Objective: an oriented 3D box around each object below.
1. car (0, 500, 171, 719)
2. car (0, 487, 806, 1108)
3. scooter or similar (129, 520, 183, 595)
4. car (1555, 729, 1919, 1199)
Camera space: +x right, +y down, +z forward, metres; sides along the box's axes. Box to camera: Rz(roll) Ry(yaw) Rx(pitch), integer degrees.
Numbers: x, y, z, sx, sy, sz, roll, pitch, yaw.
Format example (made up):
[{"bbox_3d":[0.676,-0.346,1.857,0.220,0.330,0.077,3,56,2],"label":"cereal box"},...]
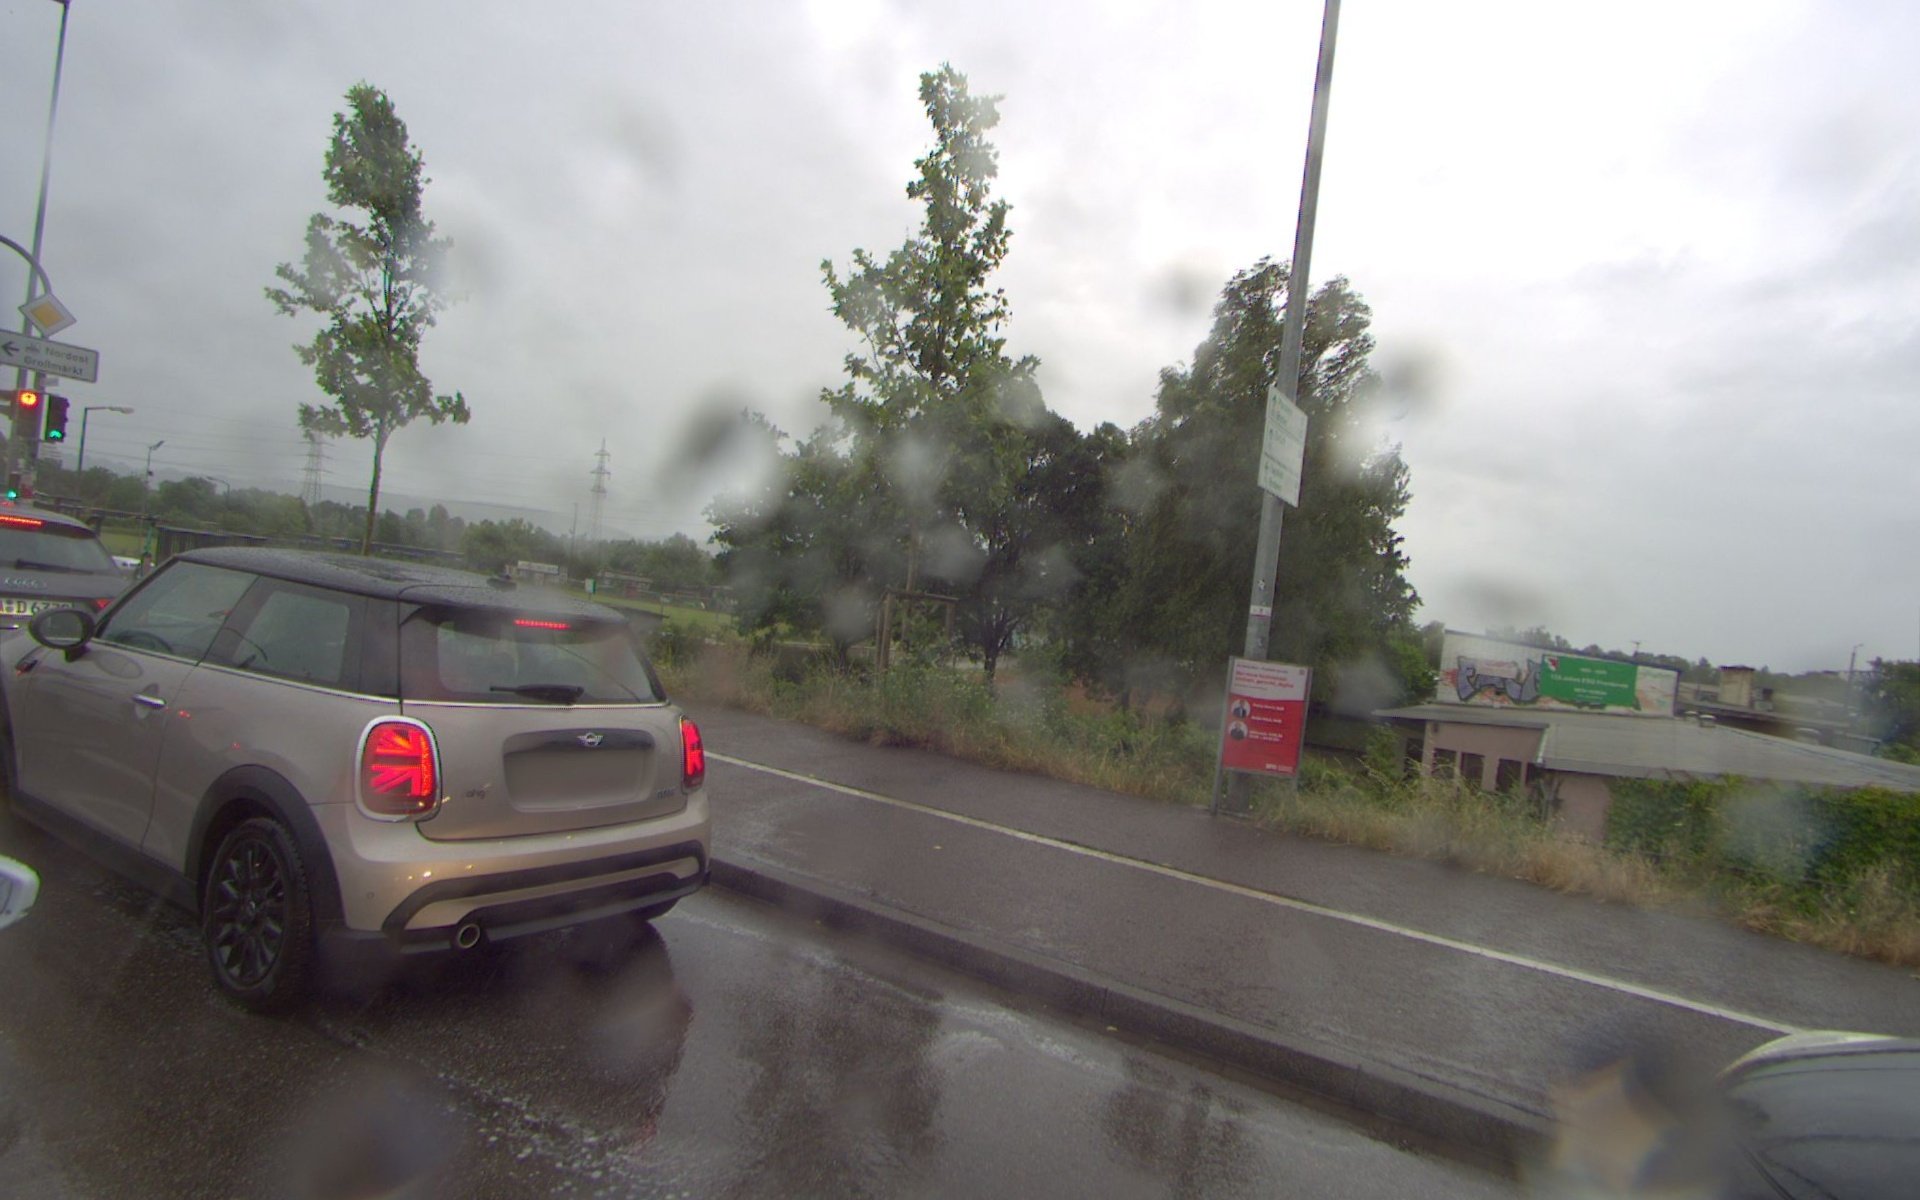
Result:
[{"bbox_3d":[-7.498,-0.103,7.199,3.563,1.360,1.632,6,-2,31],"label":"car"},{"bbox_3d":[-2.669,0.488,4.327,3.564,1.525,1.717,7,-2,32],"label":"car"},{"bbox_3d":[-13.637,-0.727,17.055,1.167,1.171,0.246,6,-1,33],"label":"scooter or similar"},{"bbox_3d":[2.763,1.172,1.048,3.563,1.445,1.632,7,-1,31],"label":"car"}]
